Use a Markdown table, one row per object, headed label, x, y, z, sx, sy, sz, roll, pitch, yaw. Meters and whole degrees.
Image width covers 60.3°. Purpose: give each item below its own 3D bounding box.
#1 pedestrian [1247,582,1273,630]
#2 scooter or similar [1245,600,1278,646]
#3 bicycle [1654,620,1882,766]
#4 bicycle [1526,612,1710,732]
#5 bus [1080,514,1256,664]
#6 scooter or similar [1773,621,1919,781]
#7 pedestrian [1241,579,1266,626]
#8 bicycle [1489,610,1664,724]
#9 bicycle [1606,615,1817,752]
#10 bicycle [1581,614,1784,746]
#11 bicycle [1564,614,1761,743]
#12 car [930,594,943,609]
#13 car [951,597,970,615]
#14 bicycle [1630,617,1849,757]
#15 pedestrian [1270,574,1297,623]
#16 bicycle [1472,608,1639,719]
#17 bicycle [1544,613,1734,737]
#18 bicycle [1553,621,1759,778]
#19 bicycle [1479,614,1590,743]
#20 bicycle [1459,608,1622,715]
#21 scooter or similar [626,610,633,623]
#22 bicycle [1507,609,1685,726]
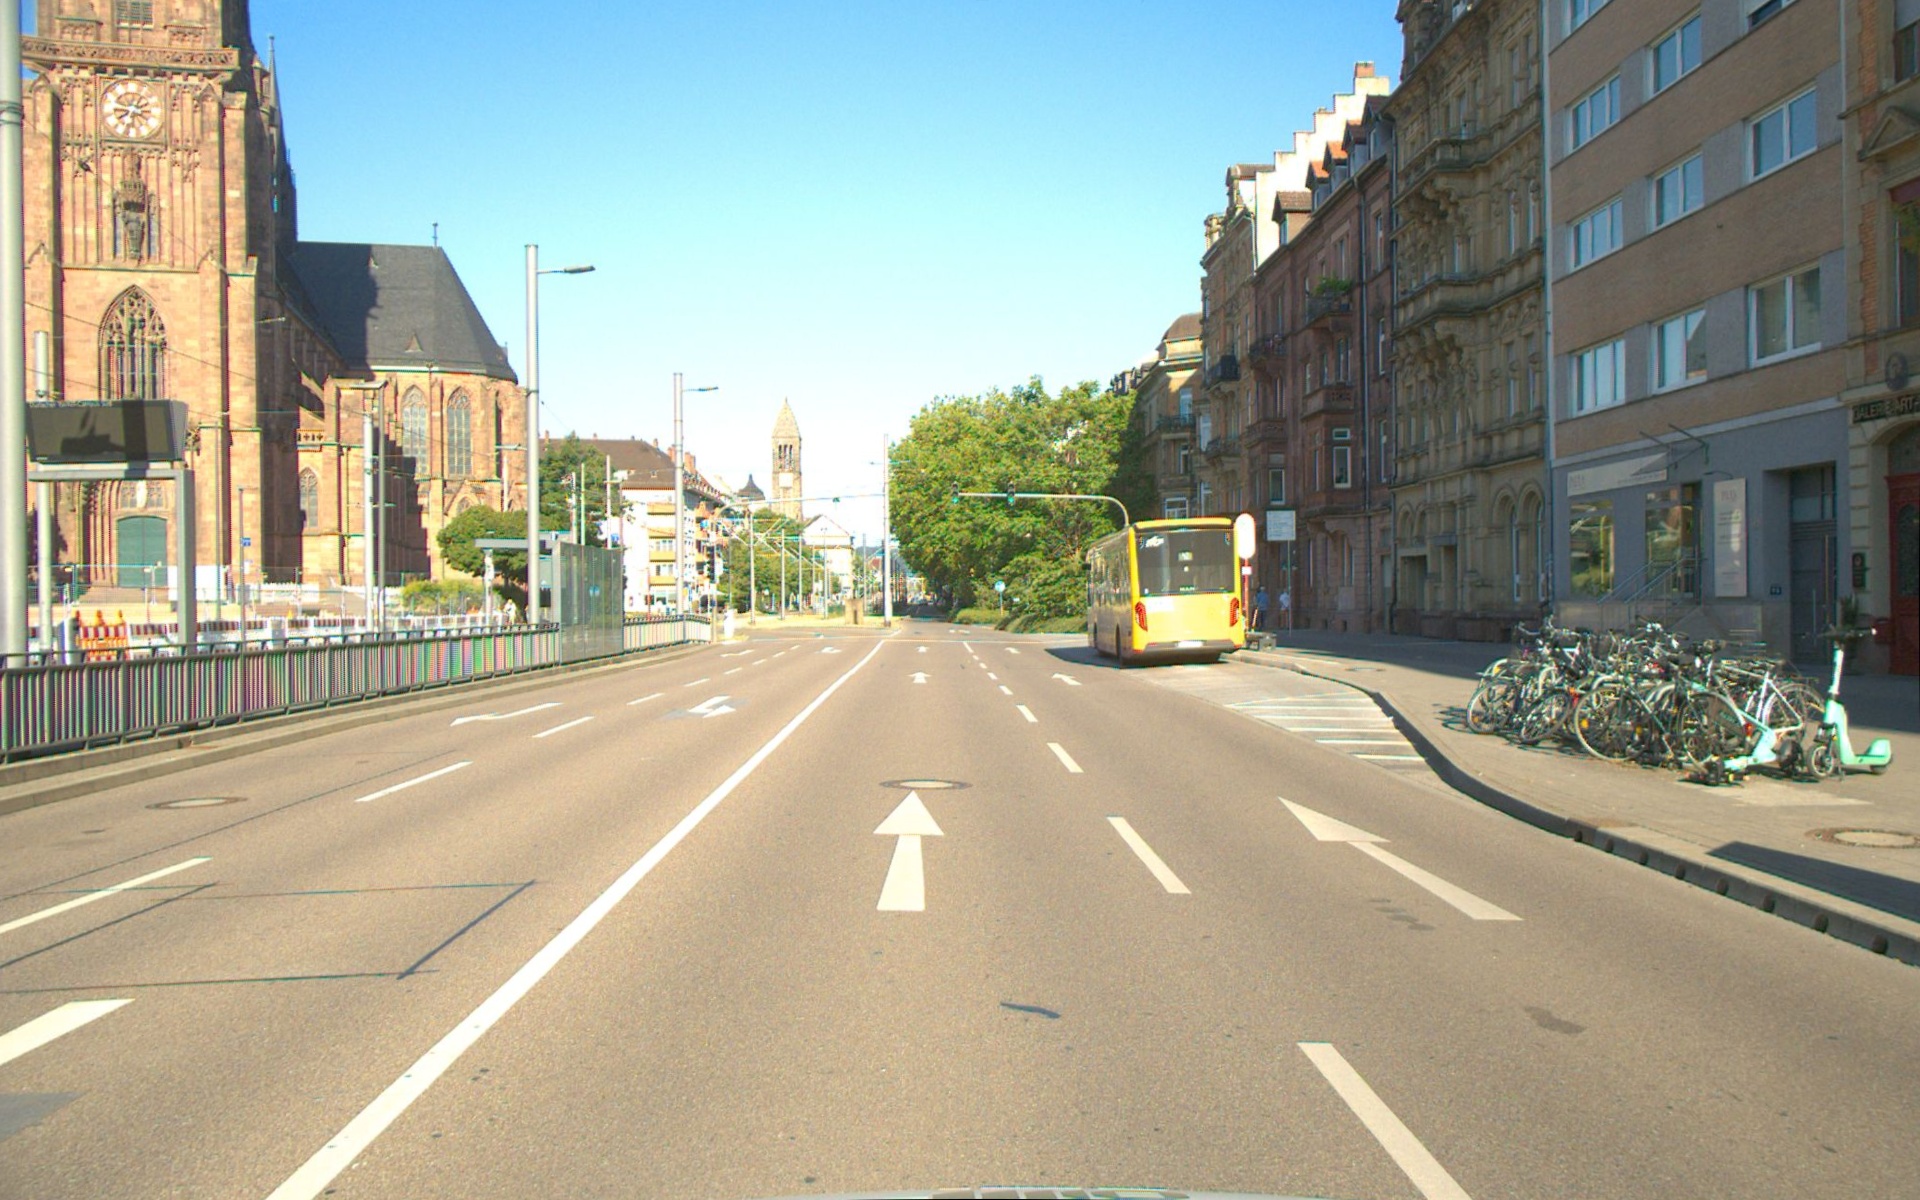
| label | x | y | z | sx | sy | sz | roll | pitch | yaw |
| --- | --- | --- | --- | --- | --- | --- | --- | --- | --- |
| pedestrian | 12.279 | 0.246 | 67.759 | 0.805 | 1.964 | 1.136 | -1 | 0 | -1 |
| scooter or similar | 8.512 | 0.660 | 46.761 | 0.423 | 1.271 | 1.291 | -2 | -1 | -10 |
| bicycle | 6.873 | 0.781 | 14.094 | 1.729 | 1.199 | 0.470 | 0 | 1 | -2 |
| bicycle | 6.796 | 0.734 | 17.122 | 1.729 | 1.208 | 0.470 | 0 | 1 | -2 |
| bus | 5.077 | -0.270 | 43.037 | 2.660 | 3.236 | 12.538 | -2 | 0 | -1 |
| scooter or similar | 7.230 | 0.786 | 13.333 | 1.191 | 1.237 | 0.636 | 0 | -1 | -29 |
| pedestrian | 12.504 | 0.115 | 70.557 | 0.805 | 1.964 | 1.136 | -1 | 0 | -1 |
| bicycle | 6.740 | 0.727 | 18.118 | 1.755 | 1.208 | 0.470 | 0 | 1 | -2 |
| bicycle | 6.843 | 0.753 | 15.093 | 1.729 | 1.208 | 0.470 | 0 | 1 | -2 |
| bicycle | 6.797 | 0.745 | 15.592 | 1.729 | 1.208 | 0.470 | 0 | 1 | -2 |
| bicycle | 6.823 | 0.754 | 16.100 | 1.729 | 1.208 | 0.470 | 0 | 1 | -2 |
| car | -3.720 | 0.254 | 258.445 | 1.953 | 2.144 | 3.999 | 1 | -1 | -1 |
| car | 0.027 | 0.561 | 148.945 | 1.610 | 1.537 | 4.182 | -2 | 0 | -1 |
| bicycle | 6.866 | 0.757 | 14.595 | 1.729 | 1.199 | 0.470 | 0 | 1 | -2 |
| pedestrian | 13.248 | -0.059 | 67.789 | 0.805 | 1.964 | 1.136 | -1 | 0 | -1 |
| bicycle | 6.693 | 0.707 | 18.619 | 1.729 | 1.208 | 0.470 | 0 | 1 | -2 |
| bicycle | 6.807 | 0.746 | 16.620 | 1.729 | 1.208 | 0.470 | 0 | 1 | -2 |
| bicycle | 5.766 | 0.790 | 13.805 | 0.462 | 1.167 | 1.757 | -1 | 1 | -24 |
| bicycle | 5.707 | 0.751 | 16.516 | 0.459 | 1.167 | 1.770 | 0 | 1 | -1 |
| bicycle | 6.699 | 0.701 | 19.114 | 1.729 | 1.208 | 0.470 | 0 | 1 | -2 |
| scooter or similar | -33.242 | 1.668 | 166.237 | 0.393 | 1.283 | 1.231 | -2 | 3 | -1 |
| bicycle | 6.768 | 0.707 | 17.628 | 1.729 | 1.208 | 0.470 | 0 | 1 | -2 |
